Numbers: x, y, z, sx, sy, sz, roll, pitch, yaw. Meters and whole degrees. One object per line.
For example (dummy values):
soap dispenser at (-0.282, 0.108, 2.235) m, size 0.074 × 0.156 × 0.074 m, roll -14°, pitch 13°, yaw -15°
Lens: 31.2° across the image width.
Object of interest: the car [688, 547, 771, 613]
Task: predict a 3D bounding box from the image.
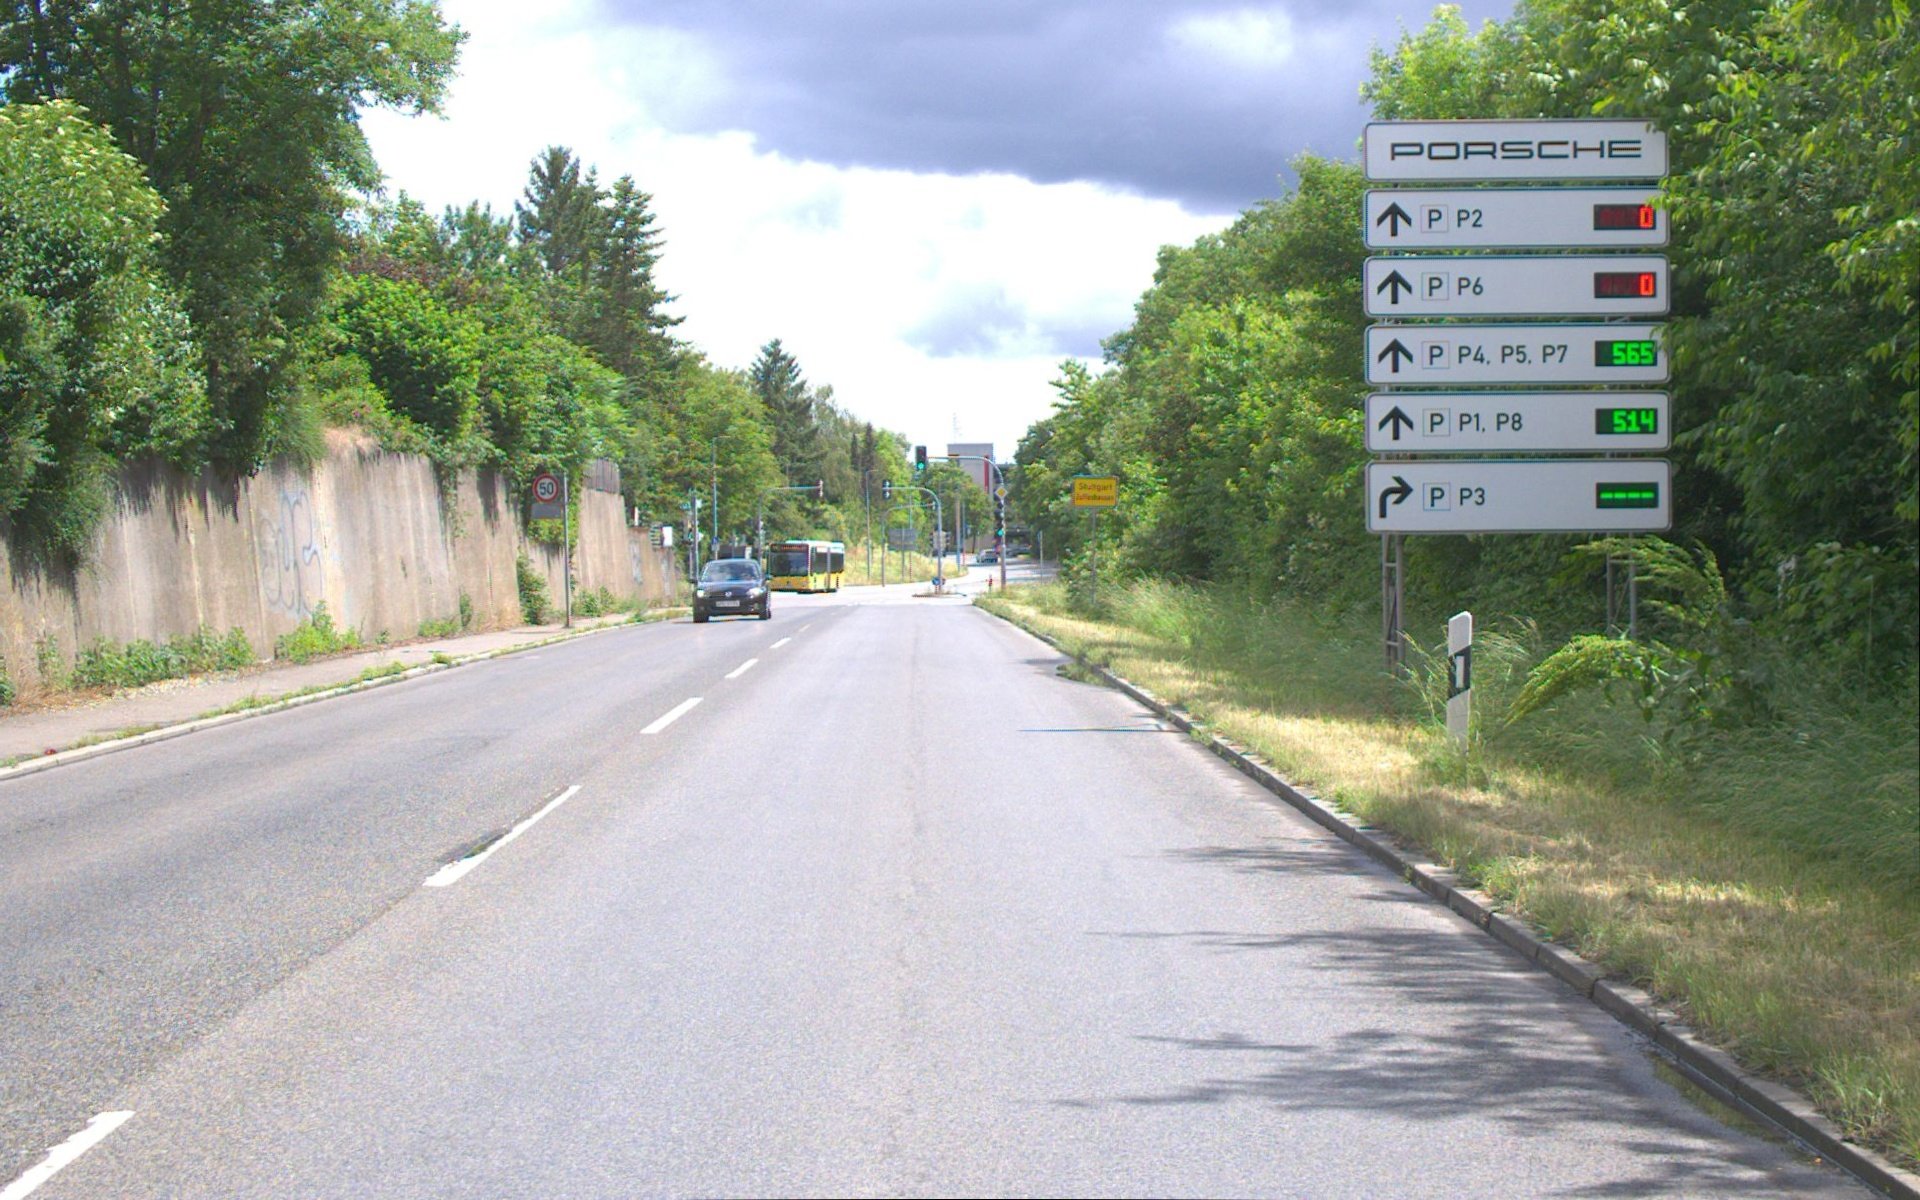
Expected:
car at (-5.457, -0.492, 81.614) m, size 1.751 × 1.459 × 4.000 m, roll -1°, pitch 1°, yaw -1°

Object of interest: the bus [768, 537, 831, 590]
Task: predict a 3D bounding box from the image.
bus at (-9.319, -2.162, 200.355) m, size 2.895 × 2.889 × 7.667 m, roll 1°, pitch 2°, yaw 3°
